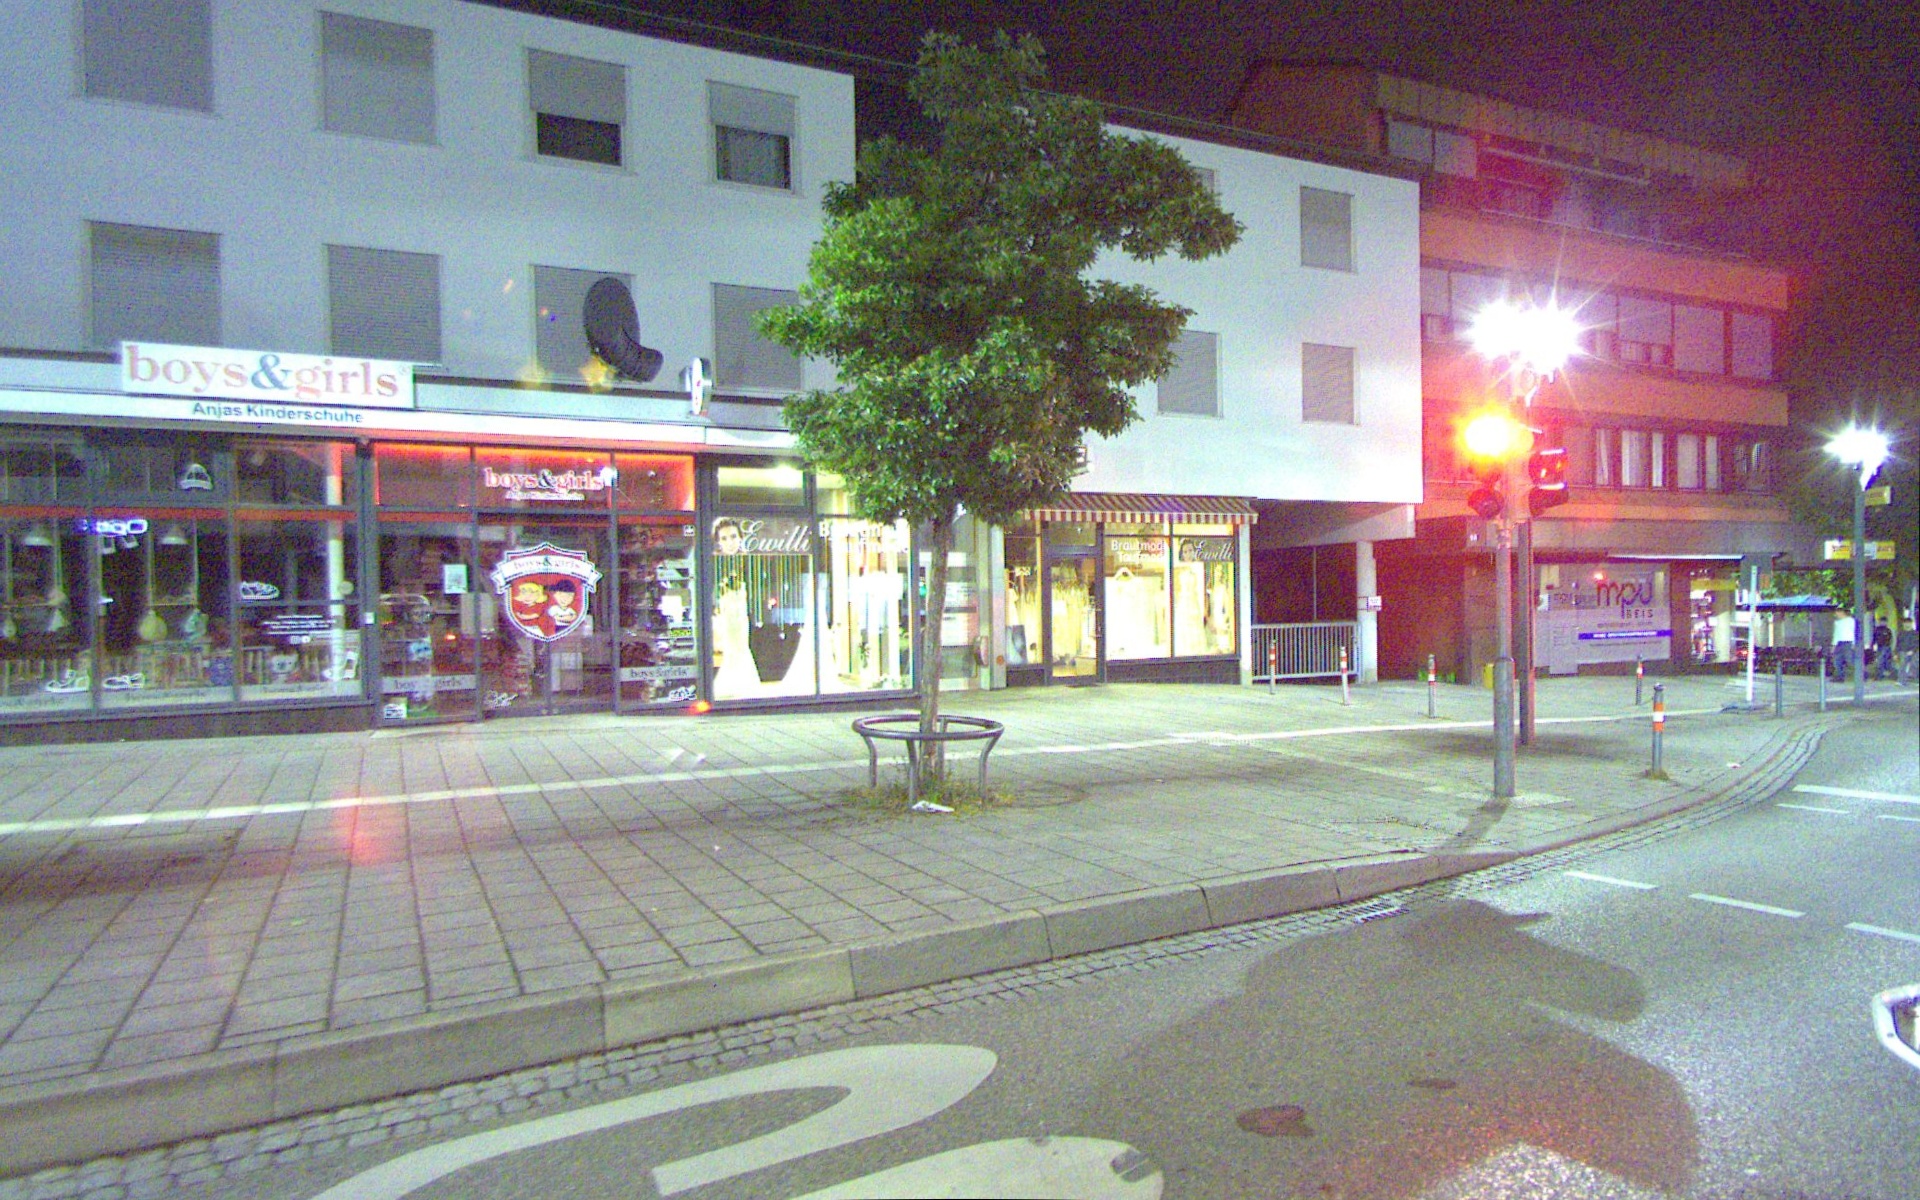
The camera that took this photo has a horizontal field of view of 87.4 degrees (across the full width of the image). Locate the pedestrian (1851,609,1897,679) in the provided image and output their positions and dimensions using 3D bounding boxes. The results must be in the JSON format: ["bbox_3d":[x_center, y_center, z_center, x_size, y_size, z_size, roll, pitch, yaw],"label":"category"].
[{"bbox_3d":[24.239,1.162,26.647,0.561,1.819,0.714,2,-1,-23],"label":"pedestrian"}]

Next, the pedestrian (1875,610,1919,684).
[{"bbox_3d":[23.554,1.166,25.189,0.561,1.819,0.714,2,-1,-23],"label":"pedestrian"}]

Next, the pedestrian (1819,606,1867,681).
[{"bbox_3d":[22.034,1.084,25.070,0.563,1.819,0.712,3,-1,-29],"label":"pedestrian"}]

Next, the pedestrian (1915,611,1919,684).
[{"bbox_3d":[24.285,1.191,24.891,0.561,1.819,0.714,2,-1,-23],"label":"pedestrian"}]
